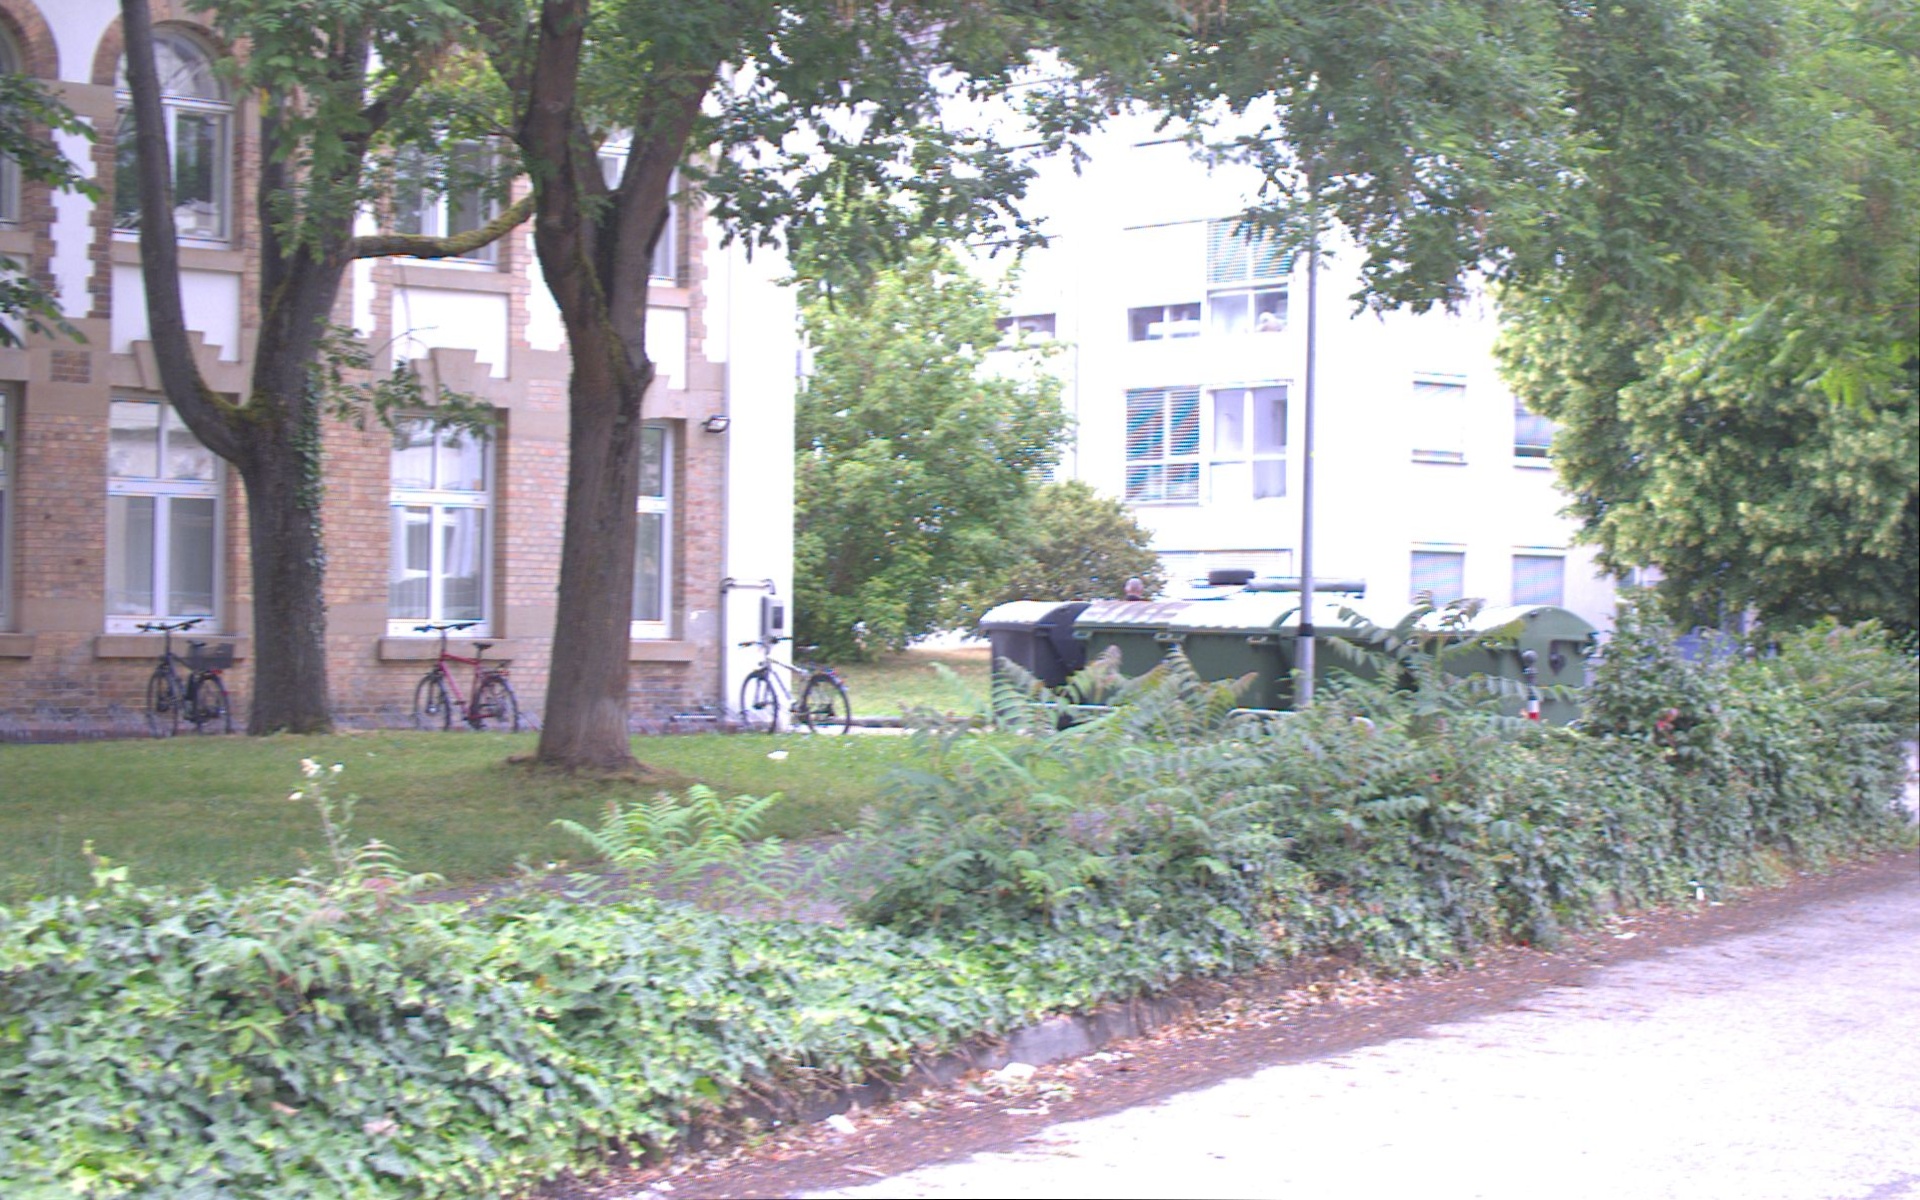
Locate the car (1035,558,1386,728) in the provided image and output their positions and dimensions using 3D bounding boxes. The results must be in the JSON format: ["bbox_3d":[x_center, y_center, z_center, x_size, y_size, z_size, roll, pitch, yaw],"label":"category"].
[{"bbox_3d":[3.157,0.565,42.748,4.339,2.007,1.853,2,-2,-42],"label":"car"}]

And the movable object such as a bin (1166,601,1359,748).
[{"bbox_3d":[2.691,0.649,30.638,1.053,1.260,1.353,1,0,-43],"label":"movable object such as a bin"}]

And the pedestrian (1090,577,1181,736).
[{"bbox_3d":[2.017,0.657,39.579,0.754,1.803,0.698,1,-2,-41],"label":"pedestrian"}]

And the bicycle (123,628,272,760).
[{"bbox_3d":[-6.840,0.824,30.768,0.617,1.116,2.221,1,0,-31],"label":"bicycle"}]

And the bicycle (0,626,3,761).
[{"bbox_3d":[-8.756,0.767,29.217,0.617,1.116,2.221,1,0,-31],"label":"bicycle"}]

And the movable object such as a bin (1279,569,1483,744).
[{"bbox_3d":[3.606,0.481,29.492,1.053,1.451,1.353,2,-1,-43],"label":"movable object such as a bin"}]

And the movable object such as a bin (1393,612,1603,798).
[{"bbox_3d":[4.425,0.853,28.321,1.052,1.445,1.355,1,1,-29],"label":"movable object such as a bin"}]

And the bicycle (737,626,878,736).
[{"bbox_3d":[-1.554,0.809,34.822,0.395,1.062,1.828,2,-1,-39],"label":"bicycle"}]

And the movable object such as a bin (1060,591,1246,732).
[{"bbox_3d":[1.788,0.558,31.880,1.353,1.260,1.053,0,0,44],"label":"movable object such as a bin"}]

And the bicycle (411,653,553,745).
[{"bbox_3d":[-4.539,0.925,32.546,0.617,0.811,1.944,1,0,-31],"label":"bicycle"}]
